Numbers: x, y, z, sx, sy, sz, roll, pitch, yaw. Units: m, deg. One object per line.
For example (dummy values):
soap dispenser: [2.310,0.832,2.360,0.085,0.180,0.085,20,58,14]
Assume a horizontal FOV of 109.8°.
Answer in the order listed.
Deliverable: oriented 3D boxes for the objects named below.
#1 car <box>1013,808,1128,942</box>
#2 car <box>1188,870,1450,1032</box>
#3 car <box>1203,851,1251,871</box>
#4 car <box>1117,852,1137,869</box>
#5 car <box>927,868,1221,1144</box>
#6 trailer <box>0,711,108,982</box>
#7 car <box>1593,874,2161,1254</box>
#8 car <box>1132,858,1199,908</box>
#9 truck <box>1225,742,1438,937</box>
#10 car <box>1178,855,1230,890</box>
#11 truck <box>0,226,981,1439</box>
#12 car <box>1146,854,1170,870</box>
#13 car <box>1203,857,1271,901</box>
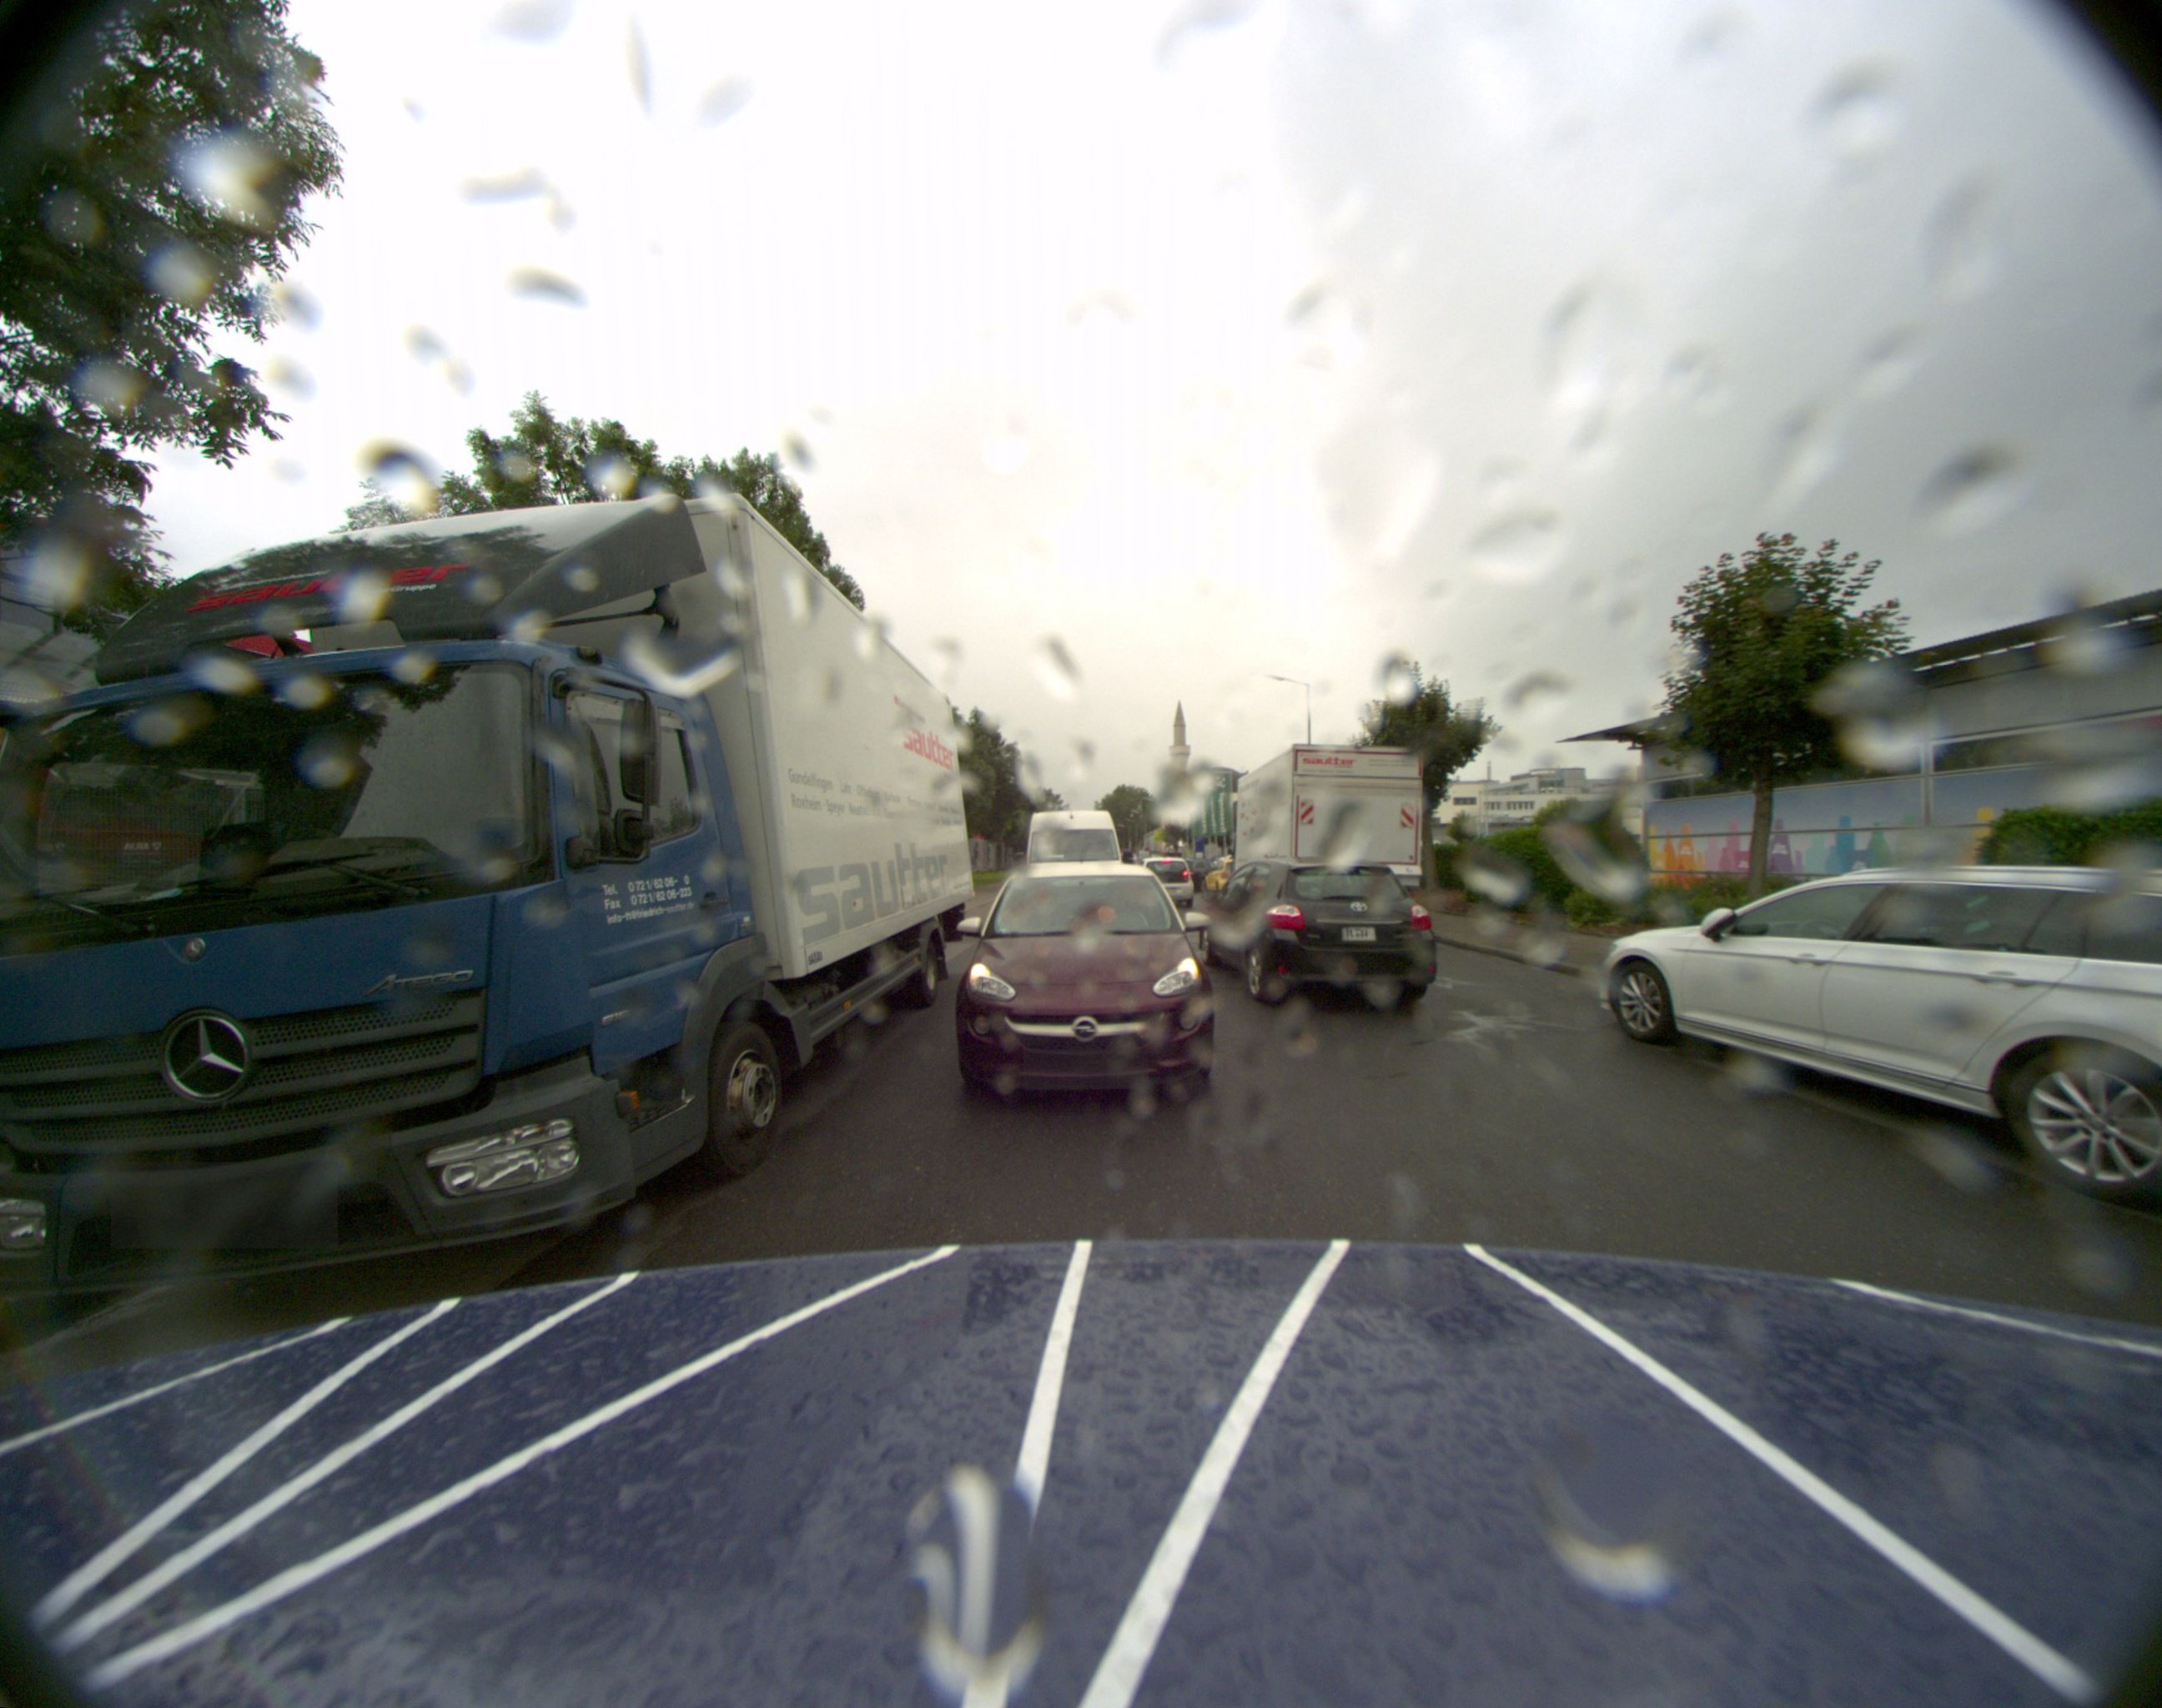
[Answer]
car: [-0.231,0.397,16.849,2.085,2.466,5.346,-1,0,-1]
car: [2.520,0.948,9.117,1.735,1.432,3.999,0,0,-3]
car: [12.086,0.560,62.878,3.609,1.588,1.692,-1,0,-2]
car: [4.351,0.589,72.561,1.691,1.588,3.611,-1,0,0]
car: [-0.022,0.912,6.172,1.637,1.446,3.578,-2,0,1]
trailer: [-18.357,-0.030,8.313,2.974,4.219,9.469,-1,1,1]
car: [5.323,0.906,4.343,1.840,1.426,4.492,1,0,2]
car: [2.562,0.857,23.776,1.615,1.430,3.407,1,0,-1]
truck: [5.588,-0.278,18.640,2.888,3.724,7.868,-1,0,2]
car: [5.338,0.767,33.442,1.691,1.457,3.513,-1,0,0]
truck: [-2.916,-0.019,6.380,2.678,3.670,8.009,-4,0,1]
car: [6.533,0.684,64.694,1.579,1.333,3.611,-1,0,0]
car: [5.563,0.840,27.438,1.691,1.457,3.513,-1,0,0]
